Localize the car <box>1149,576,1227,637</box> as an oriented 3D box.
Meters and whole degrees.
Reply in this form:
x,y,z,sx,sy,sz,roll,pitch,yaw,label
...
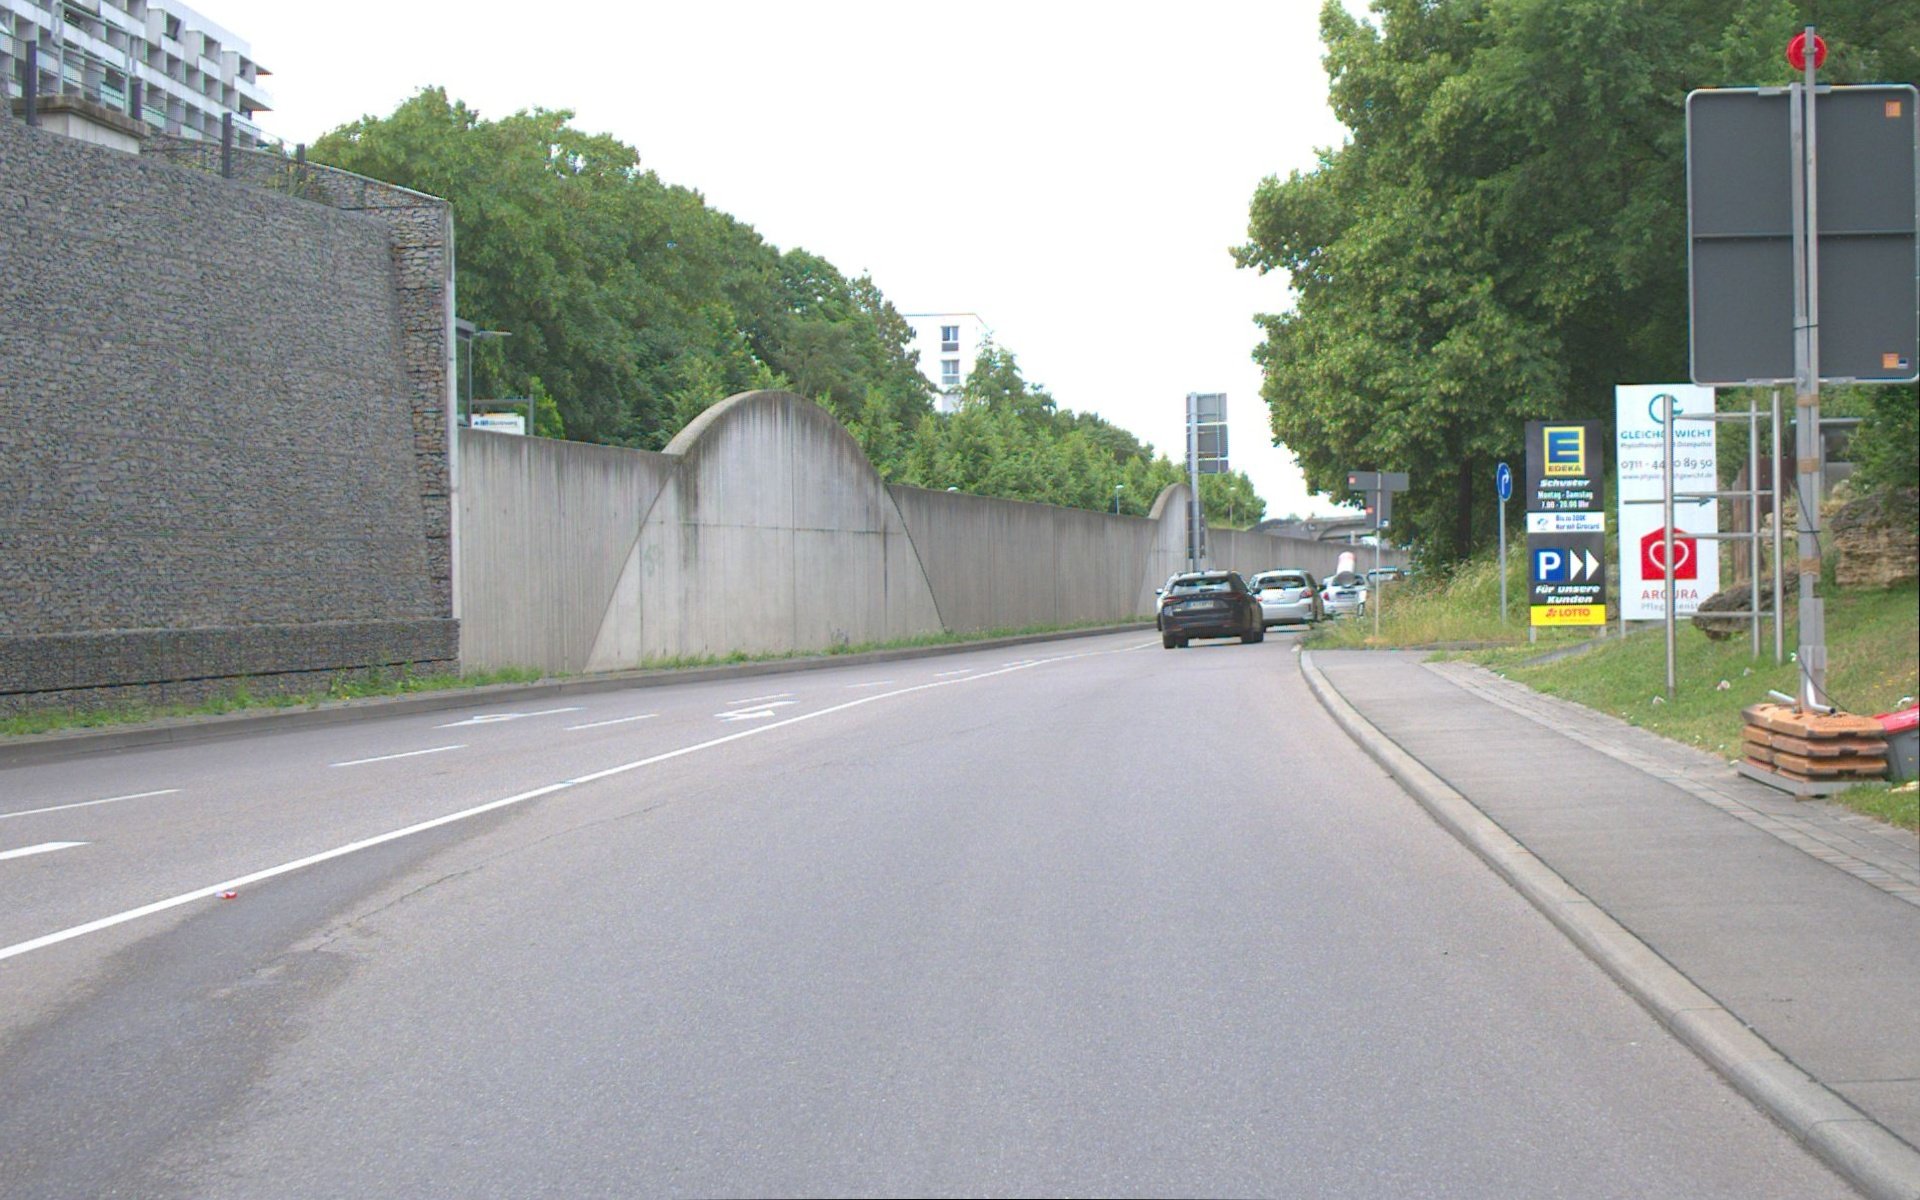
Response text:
x,y,z,sx,sy,sz,roll,pitch,yaw,label
6.496,0.174,97.715,1.862,1.626,4.207,-2,0,8,car

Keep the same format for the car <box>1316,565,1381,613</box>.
x,y,z,sx,sy,sz,roll,pitch,yaw,label
12.463,-0.352,110.137,1.867,1.485,4.255,1,0,9,car

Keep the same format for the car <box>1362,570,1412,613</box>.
x,y,z,sx,sy,sz,roll,pitch,yaw,label
16.464,-0.306,132.406,1.755,1.528,4.252,1,-1,9,car

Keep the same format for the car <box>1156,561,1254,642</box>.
x,y,z,sx,sy,sz,roll,pitch,yaw,label
4.909,0.054,68.526,1.755,1.518,4.035,1,-1,7,car

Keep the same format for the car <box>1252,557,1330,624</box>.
x,y,z,sx,sy,sz,roll,pitch,yaw,label
8.159,-0.222,84.505,1.755,1.518,4.035,1,-1,7,car
